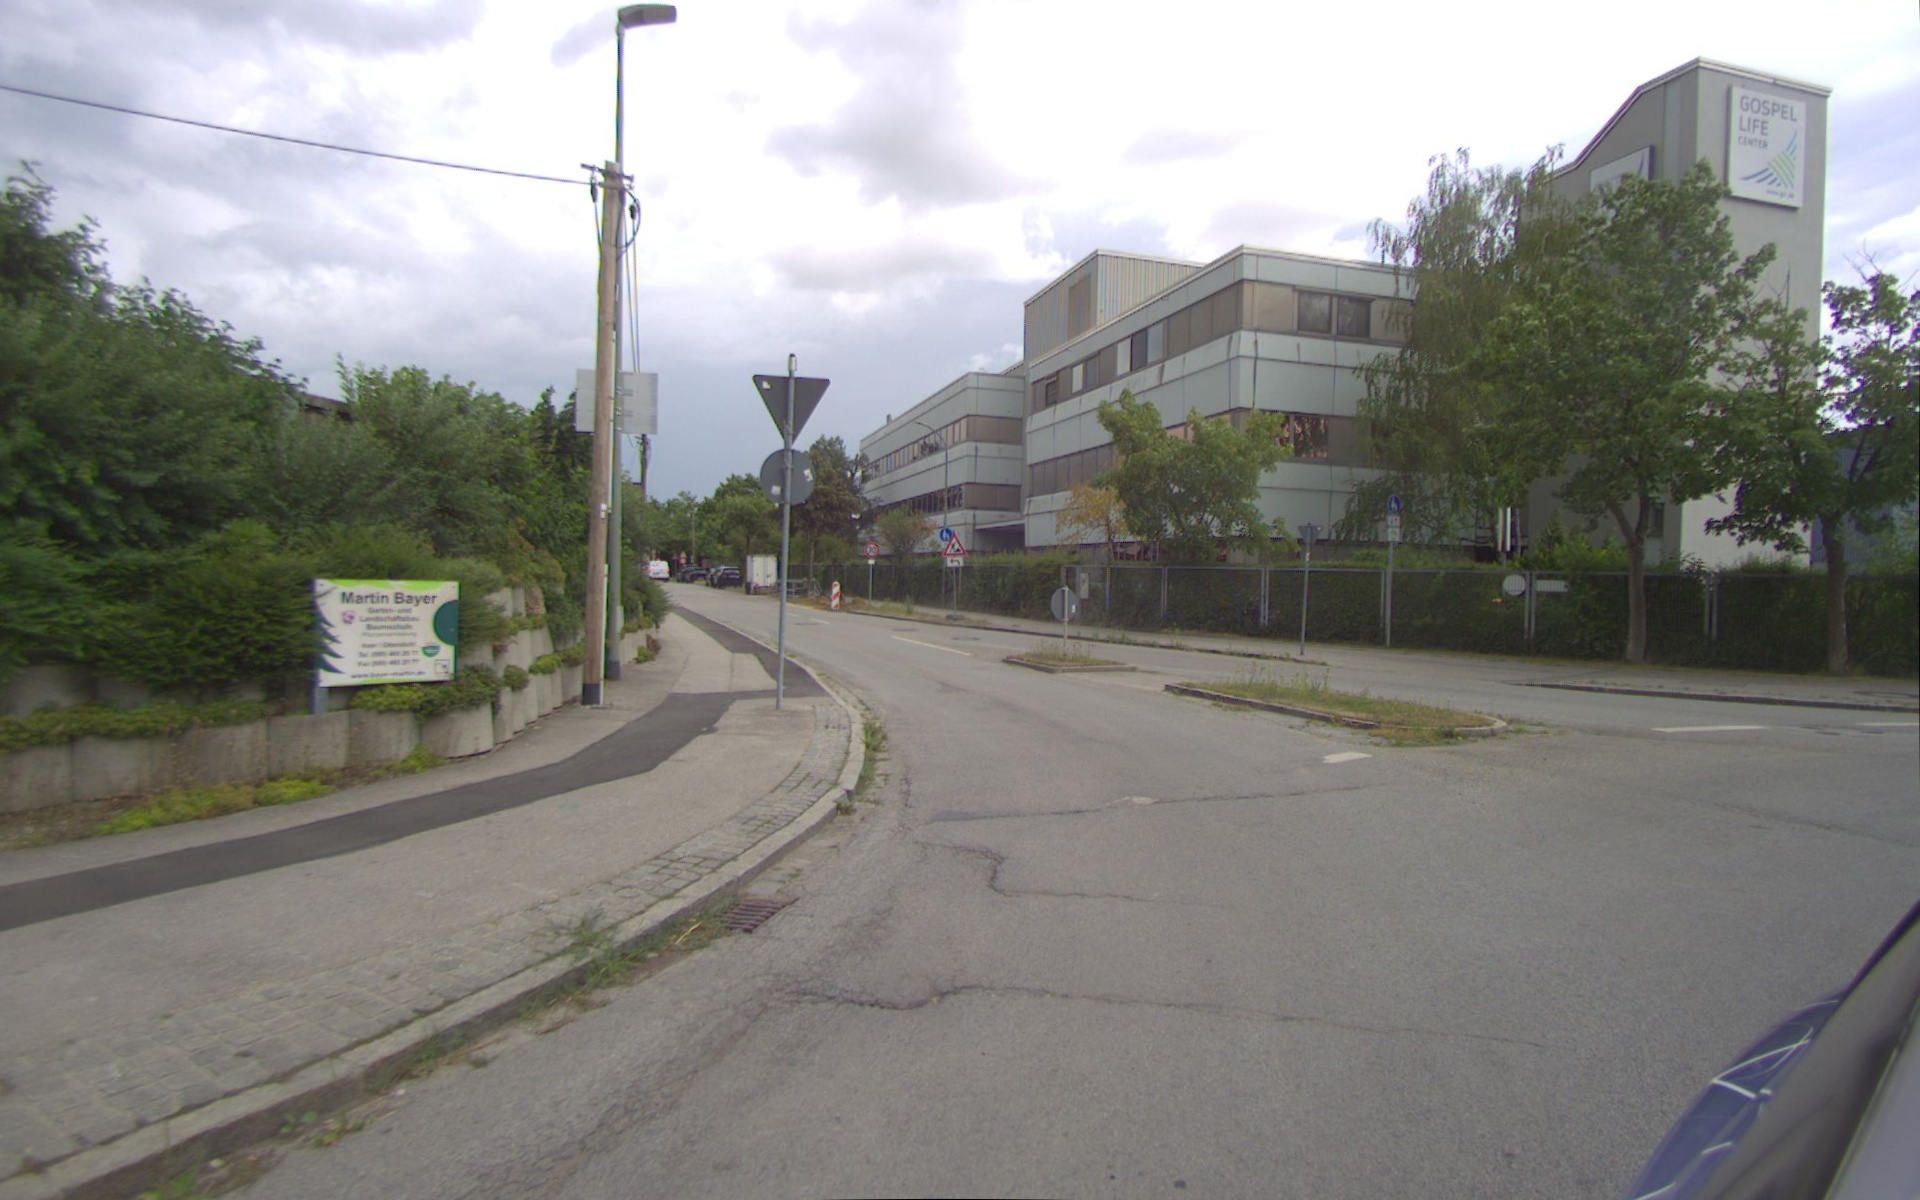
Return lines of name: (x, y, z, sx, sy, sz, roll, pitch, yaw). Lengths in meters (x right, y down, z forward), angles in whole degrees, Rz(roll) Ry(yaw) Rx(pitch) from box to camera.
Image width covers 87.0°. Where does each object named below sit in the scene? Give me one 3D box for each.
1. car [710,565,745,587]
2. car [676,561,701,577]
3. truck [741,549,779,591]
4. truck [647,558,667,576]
car: (-17.166, -1.784, 74.498, 1.958, 1.504, 4.009, 0, 1, -21)
car: (-26.261, -2.997, 97.913, 1.958, 1.504, 4.009, 0, 1, -21)
truck: (-12.398, -1.846, 62.467, 1.729, 2.500, 4.409, 0, 1, -18)
truck: (-28.477, -3.081, 95.021, 1.728, 1.662, 4.409, 0, 1, -18)
